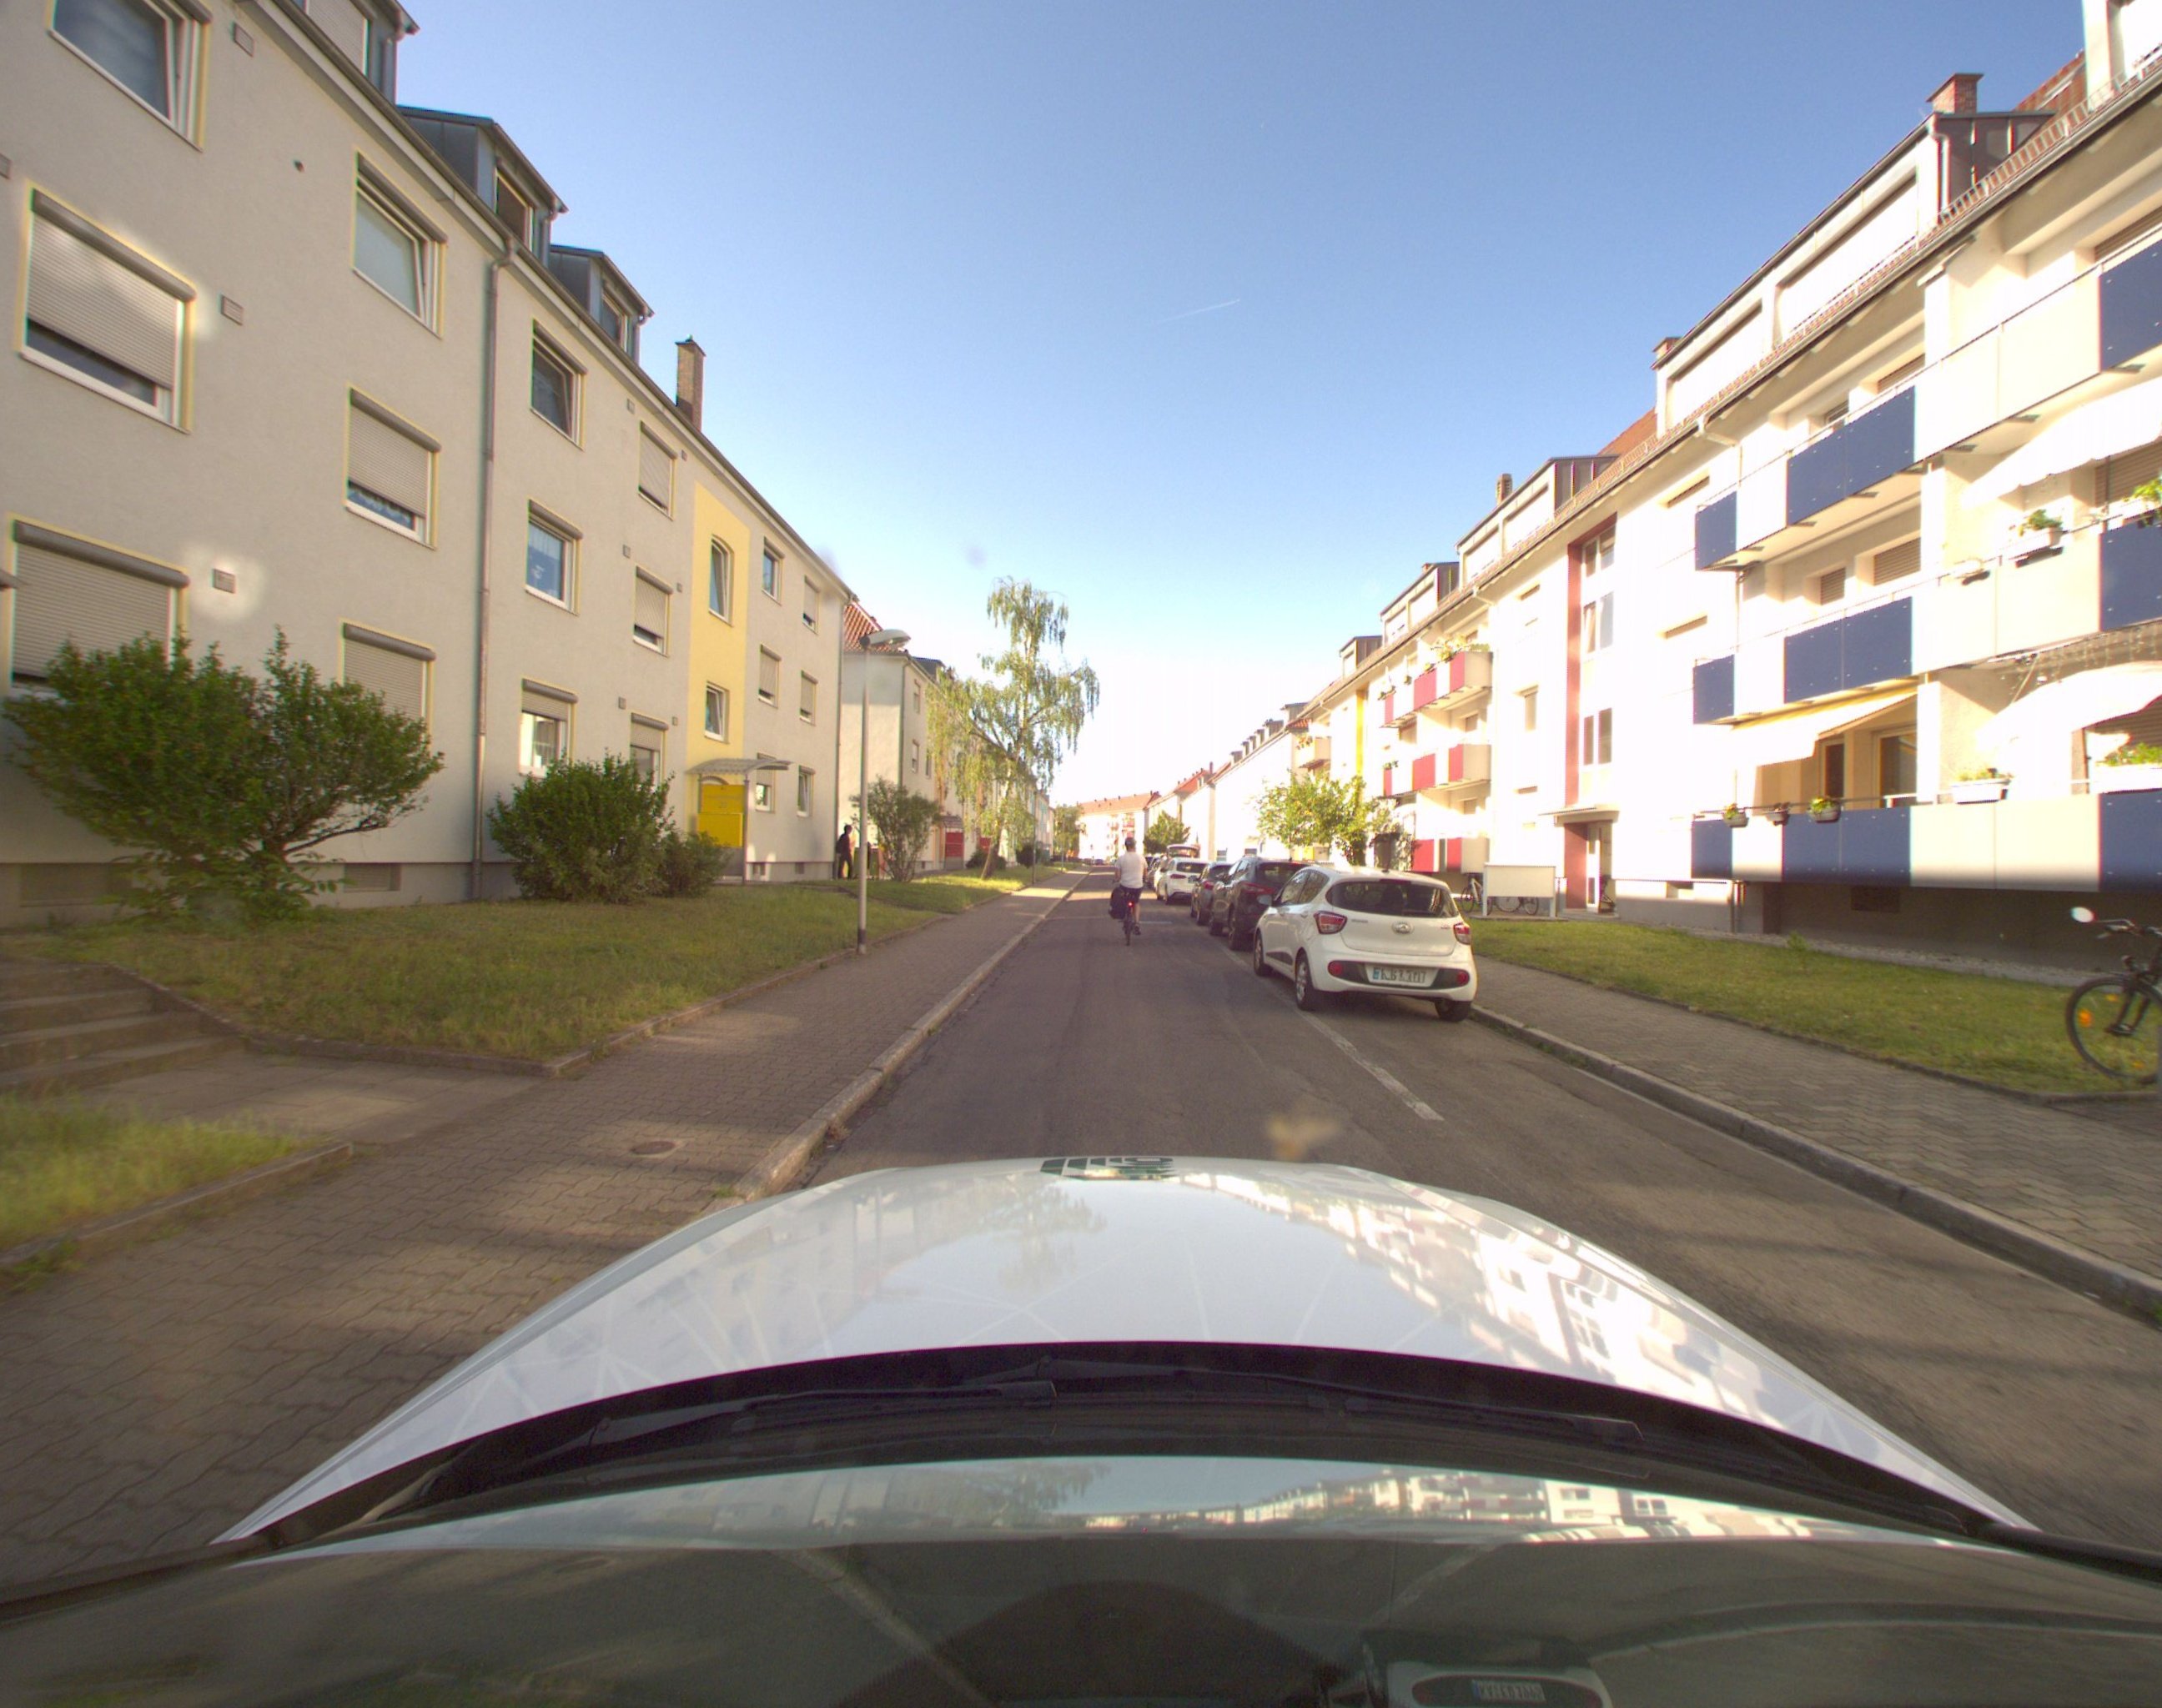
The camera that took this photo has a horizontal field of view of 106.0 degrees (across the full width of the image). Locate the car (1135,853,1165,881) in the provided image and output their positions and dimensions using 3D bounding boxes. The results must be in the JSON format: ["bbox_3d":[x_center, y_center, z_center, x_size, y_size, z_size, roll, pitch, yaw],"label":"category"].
[{"bbox_3d":[4.497,0.819,53.660,1.776,1.648,4.472,2,0,3],"label":"car"}]

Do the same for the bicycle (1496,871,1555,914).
[{"bbox_3d":[11.626,0.993,21.373,0.518,1.037,1.976,-1,0,2],"label":"bicycle"}]

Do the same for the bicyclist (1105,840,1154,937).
[{"bbox_3d":[0.834,0.587,14.235,0.806,1.643,0.898,0,0,-1],"label":"bicyclist"}]

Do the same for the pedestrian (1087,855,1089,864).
[{"bbox_3d":[1.246,1.052,146.861,0.432,1.574,0.543,0,0,1],"label":"pedestrian"}]

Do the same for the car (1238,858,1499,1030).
[{"bbox_3d":[3.096,0.861,9.632,1.707,1.509,3.854,4,0,1],"label":"car"}]

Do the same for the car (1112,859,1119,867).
[{"bbox_3d":[7.113,1.819,166.927,1.377,1.497,3.076,0,0,0],"label":"car"}]

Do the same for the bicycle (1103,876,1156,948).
[{"bbox_3d":[0.825,0.980,14.406,0.806,1.128,2.101,0,0,-1],"label":"bicycle"}]

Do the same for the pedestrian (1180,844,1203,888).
[{"bbox_3d":[4.274,0.470,31.588,0.816,1.687,0.604,-1,0,1],"label":"pedestrian"}]

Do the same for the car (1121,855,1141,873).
[{"bbox_3d":[5.118,1.029,83.357,1.855,1.668,4.128,3,0,2],"label":"car"}]

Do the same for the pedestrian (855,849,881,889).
[{"bbox_3d":[-7.054,0.499,26.943,0.683,1.317,0.576,0,-1,2],"label":"pedestrian"}]

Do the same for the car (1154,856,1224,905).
[{"bbox_3d":[3.598,0.838,27.768,1.766,1.505,4.480,2,0,0],"label":"car"}]

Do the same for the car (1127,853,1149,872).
[{"bbox_3d":[5.273,0.770,75.621,1.706,1.595,4.399,3,0,1],"label":"car"}]

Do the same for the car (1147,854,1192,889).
[{"bbox_3d":[4.182,0.806,39.006,1.688,1.491,3.985,3,0,1],"label":"car"}]

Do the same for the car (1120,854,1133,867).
[{"bbox_3d":[6.580,0.944,117.543,1.669,1.739,3.942,2,0,0],"label":"car"}]

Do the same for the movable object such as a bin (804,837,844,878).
[{"bbox_3d":[-9.067,0.134,28.751,1.080,1.406,0.813,1,0,2],"label":"movable object such as a bin"}]

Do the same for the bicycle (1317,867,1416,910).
[{"bbox_3d":[7.684,0.921,22.010,2.410,1.130,0.881,0,0,7],"label":"bicycle"}]

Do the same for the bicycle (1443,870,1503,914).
[{"bbox_3d":[10.321,0.975,21.526,0.518,1.049,2.289,-2,0,2],"label":"bicycle"}]

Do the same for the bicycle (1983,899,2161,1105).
[{"bbox_3d":[6.725,0.913,4.910,0.542,1.170,1.874,-1,0,3],"label":"bicycle"}]

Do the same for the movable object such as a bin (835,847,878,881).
[{"bbox_3d":[-9.287,0.412,33.773,1.382,1.336,1.228,2,0,1],"label":"movable object such as a bin"}]

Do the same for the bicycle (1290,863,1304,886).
[{"bbox_3d":[10.364,0.972,39.080,0.401,1.087,1.300,-1,0,2],"label":"bicycle"}]

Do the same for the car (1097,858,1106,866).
[{"bbox_3d":[3.792,1.508,150.063,1.465,1.335,3.140,2,0,0],"label":"car"}]

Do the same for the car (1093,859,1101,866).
[{"bbox_3d":[3.069,1.660,154.873,1.465,1.335,3.140,-1,0,0],"label":"car"}]

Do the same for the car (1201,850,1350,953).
[{"bbox_3d":[3.327,0.735,14.745,1.717,1.578,4.353,0,0,1],"label":"car"}]

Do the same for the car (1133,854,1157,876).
[{"bbox_3d":[4.588,0.775,58.759,1.635,1.498,4.159,1,0,3],"label":"car"}]

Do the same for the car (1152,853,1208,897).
[{"bbox_3d":[4.031,0.806,33.886,1.985,1.613,5.000,2,0,4],"label":"car"}]

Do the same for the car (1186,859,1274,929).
[{"bbox_3d":[3.549,0.893,19.984,1.639,1.449,4.065,3,0,4],"label":"car"}]

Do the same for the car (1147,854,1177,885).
[{"bbox_3d":[4.329,0.787,43.481,1.472,1.529,2.945,3,0,6],"label":"car"}]

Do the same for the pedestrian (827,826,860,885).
[{"bbox_3d":[-7.454,0.037,25.595,0.802,1.824,0.718,0,-1,2],"label":"pedestrian"}]

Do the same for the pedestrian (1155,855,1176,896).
[{"bbox_3d":[3.276,0.814,31.713,0.737,1.575,0.880,0,0,1],"label":"pedestrian"}]

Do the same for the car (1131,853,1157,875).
[{"bbox_3d":[4.934,0.773,64.362,1.684,1.575,4.435,2,0,1],"label":"car"}]
